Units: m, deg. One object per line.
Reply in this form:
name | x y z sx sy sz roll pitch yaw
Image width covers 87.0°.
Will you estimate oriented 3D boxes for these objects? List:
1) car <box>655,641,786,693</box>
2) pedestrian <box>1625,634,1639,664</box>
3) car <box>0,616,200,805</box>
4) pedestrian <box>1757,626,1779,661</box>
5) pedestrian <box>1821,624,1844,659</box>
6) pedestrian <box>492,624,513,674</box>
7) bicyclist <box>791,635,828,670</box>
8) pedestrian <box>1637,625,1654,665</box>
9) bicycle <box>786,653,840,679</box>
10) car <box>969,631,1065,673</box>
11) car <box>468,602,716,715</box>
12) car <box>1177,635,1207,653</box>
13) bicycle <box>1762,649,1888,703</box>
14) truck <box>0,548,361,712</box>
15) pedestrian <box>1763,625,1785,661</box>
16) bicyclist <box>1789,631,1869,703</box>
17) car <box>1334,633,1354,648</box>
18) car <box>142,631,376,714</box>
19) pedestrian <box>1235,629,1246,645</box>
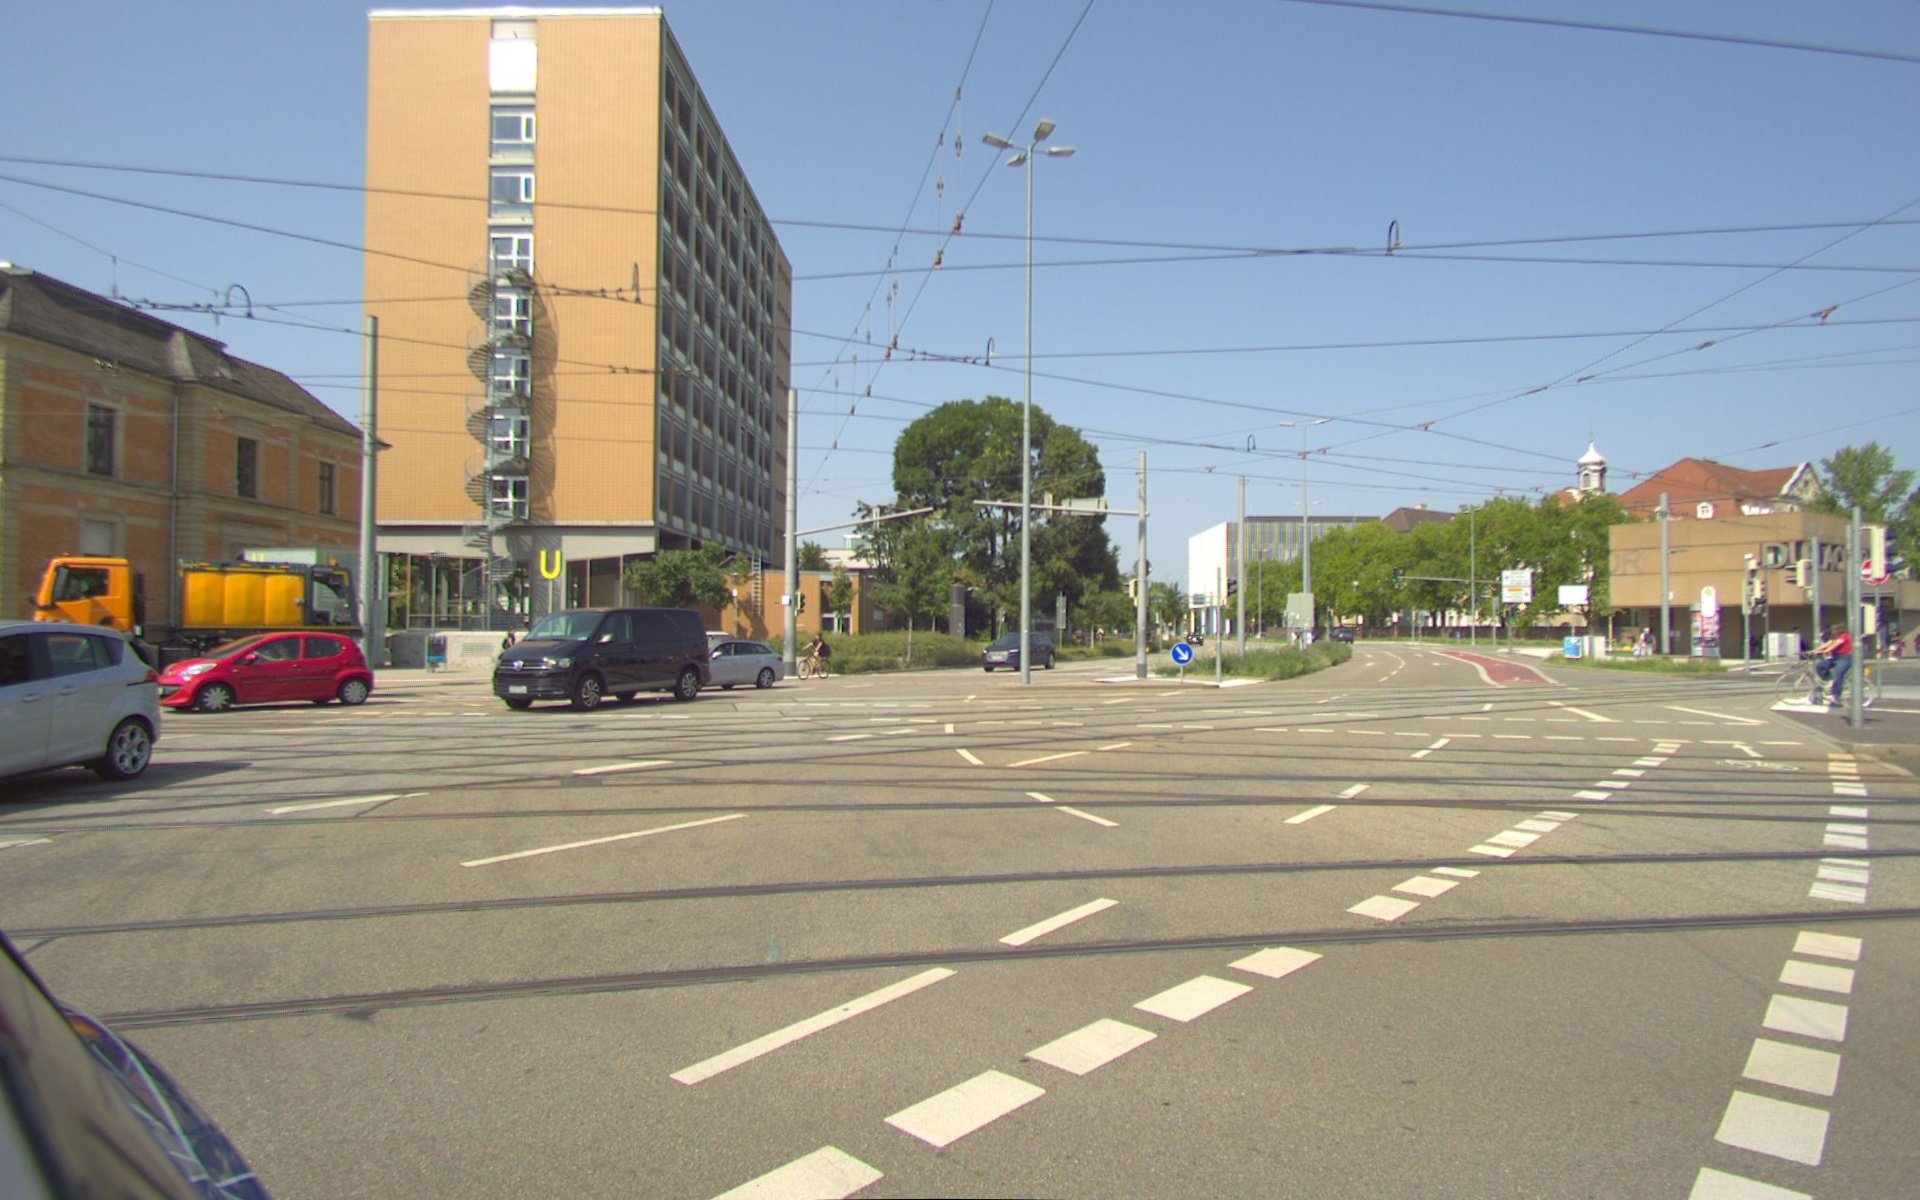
car | -6.622 1.823 28.255 1.514 1.349 3.466 -2 -3 35
pedestrian | 31.357 2.294 47.202 0.459 1.385 0.346 -1 -3 28
car | -9.032 0.949 8.841 1.668 1.607 4.364 0 -2 -3
pedestrian | 38.696 2.084 48.464 0.577 1.689 0.580 0 -3 -30
pedestrian | 41.909 1.989 48.616 0.566 1.658 0.509 -3 -3 17
pedestrian | -15.831 1.697 35.032 0.560 1.733 0.451 -4 -3 41
bicyclist | -5.502 1.906 37.043 0.855 1.276 1.092 -2 -3 36
pedestrian | 32.047 2.106 47.325 0.558 1.830 0.555 -1 -3 28
bicycle | -5.352 2.399 37.054 0.640 0.906 2.143 -2 -3 37
car | 2.475 2.168 43.124 1.995 1.653 4.644 -2 -2 34
car | -7.108 1.078 20.188 1.888 1.945 4.849 0 -1 22
car | 25.815 4.885 112.546 1.994 1.807 3.955 -3 -3 33
bicycle | 18.242 1.589 21.394 1.897 1.078 0.611 -1 -2 18
truck | -17.784 0.667 22.898 7.072 3.254 3.049 0 -3 -35
pedestrian | 39.299 2.080 48.859 0.577 1.689 0.580 0 -3 -30
bicyclist | 18.304 1.388 21.355 0.972 1.470 0.872 -1 -2 18
car | 42.988 4.492 113.313 1.891 1.665 4.619 -1 -2 24
car | -13.165 1.314 19.167 1.514 1.419 3.318 -2 -3 35
pedestrian | 31.681 4.128 114.430 0.963 1.799 1.107 -1 -2 27
